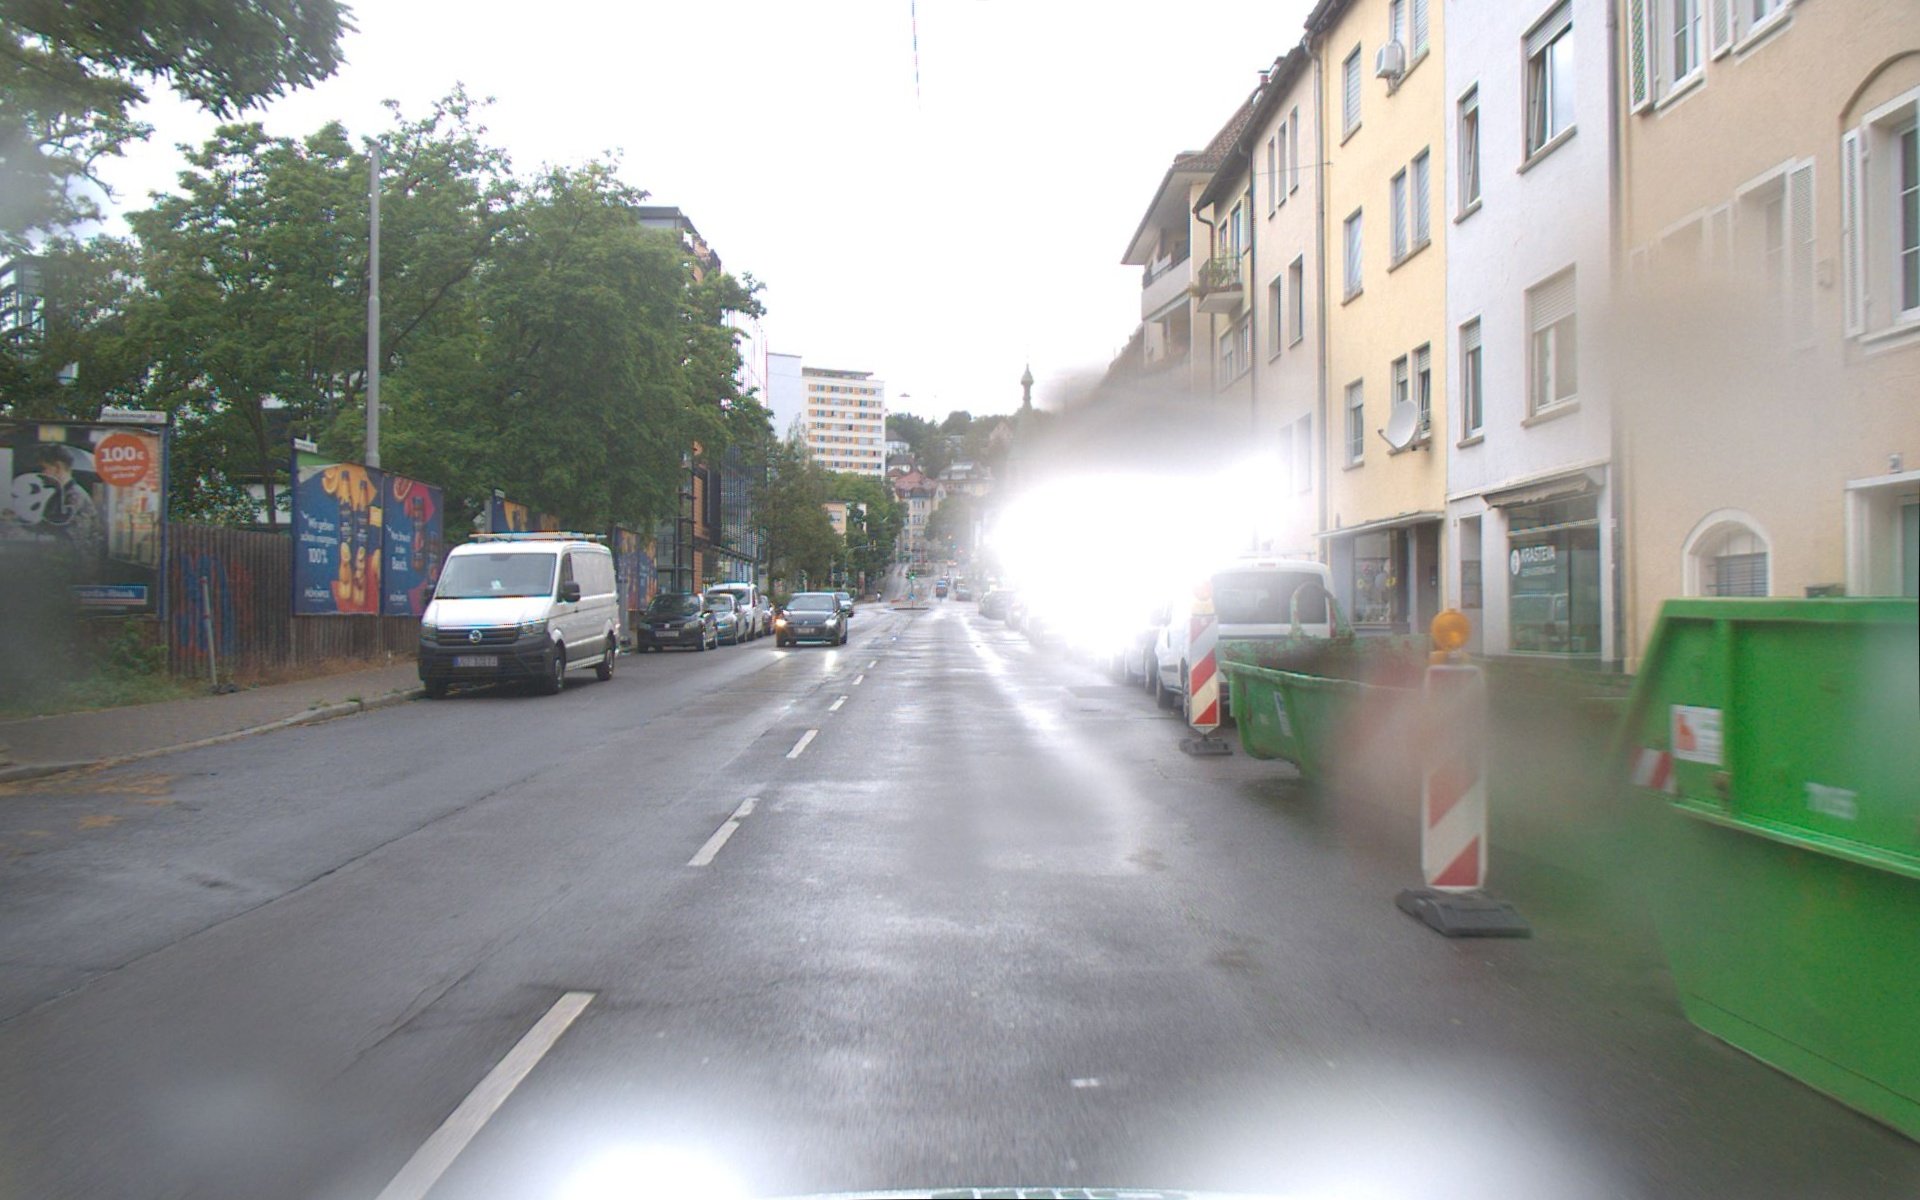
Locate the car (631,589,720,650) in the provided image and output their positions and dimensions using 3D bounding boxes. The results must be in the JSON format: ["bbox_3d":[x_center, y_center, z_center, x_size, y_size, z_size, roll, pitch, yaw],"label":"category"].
[{"bbox_3d":[-7.097,0.494,41.528,1.648,1.423,3.909,-1,-1,-2],"label":"car"}]

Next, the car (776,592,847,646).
[{"bbox_3d":[-4.146,0.538,46.752,1.769,1.440,4.382,0,0,-2],"label":"car"}]

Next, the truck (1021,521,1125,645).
[{"bbox_3d":[3.082,-0.410,46.905,2.419,3.228,7.034,0,-1,0],"label":"truck"}]

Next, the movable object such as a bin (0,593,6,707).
[{"bbox_3d":[-13.303,0.658,20.015,2.648,1.449,1.669,-1,0,-15],"label":"movable object such as a bin"}]

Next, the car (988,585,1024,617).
[{"bbox_3d":[2.546,0.053,92.393,1.781,1.681,4.075,1,0,-1],"label":"car"}]

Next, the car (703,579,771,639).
[{"bbox_3d":[-7.154,0.313,53.357,1.689,1.832,4.342,-1,-1,-2],"label":"car"}]

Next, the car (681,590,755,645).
[{"bbox_3d":[-7.048,0.518,48.458,1.648,1.488,4.275,-1,-1,-2],"label":"car"}]

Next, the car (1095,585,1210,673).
[{"bbox_3d":[3.556,0.518,31.130,1.629,1.526,4.097,0,0,-1],"label":"car"}]

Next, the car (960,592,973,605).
[{"bbox_3d":[0.940,-0.203,227.216,1.696,1.682,4.001,0,0,2],"label":"car"}]

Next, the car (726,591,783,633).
[{"bbox_3d":[-7.300,0.459,58.993,1.689,1.400,4.341,-1,-1,-3],"label":"car"}]

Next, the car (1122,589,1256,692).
[{"bbox_3d":[3.506,0.590,25.815,1.545,1.496,3.501,0,0,-1],"label":"car"}]

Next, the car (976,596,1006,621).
[{"bbox_3d":[2.026,0.565,109.461,1.781,1.549,4.075,1,0,-1],"label":"car"}]

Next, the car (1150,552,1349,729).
[{"bbox_3d":[3.449,0.455,20.434,1.780,1.958,4.239,0,0,1],"label":"car"}]

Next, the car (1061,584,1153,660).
[{"bbox_3d":[3.223,0.469,36.875,1.629,1.601,4.097,0,0,-1],"label":"car"}]

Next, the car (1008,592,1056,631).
[{"bbox_3d":[2.885,0.484,66.985,1.630,1.528,3.919,0,-1,-2],"label":"car"}]

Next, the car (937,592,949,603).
[{"bbox_3d":[-2.620,-0.390,255.543,1.869,1.537,3.999,0,0,-1],"label":"car"}]

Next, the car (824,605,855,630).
[{"bbox_3d":[-7.100,1.049,97.810,1.675,1.476,4.292,-1,-1,-2],"label":"car"}]

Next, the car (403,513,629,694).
[{"bbox_3d":[-6.919,0.049,26.525,1.971,2.530,5.983,-1,0,0],"label":"car"}]
